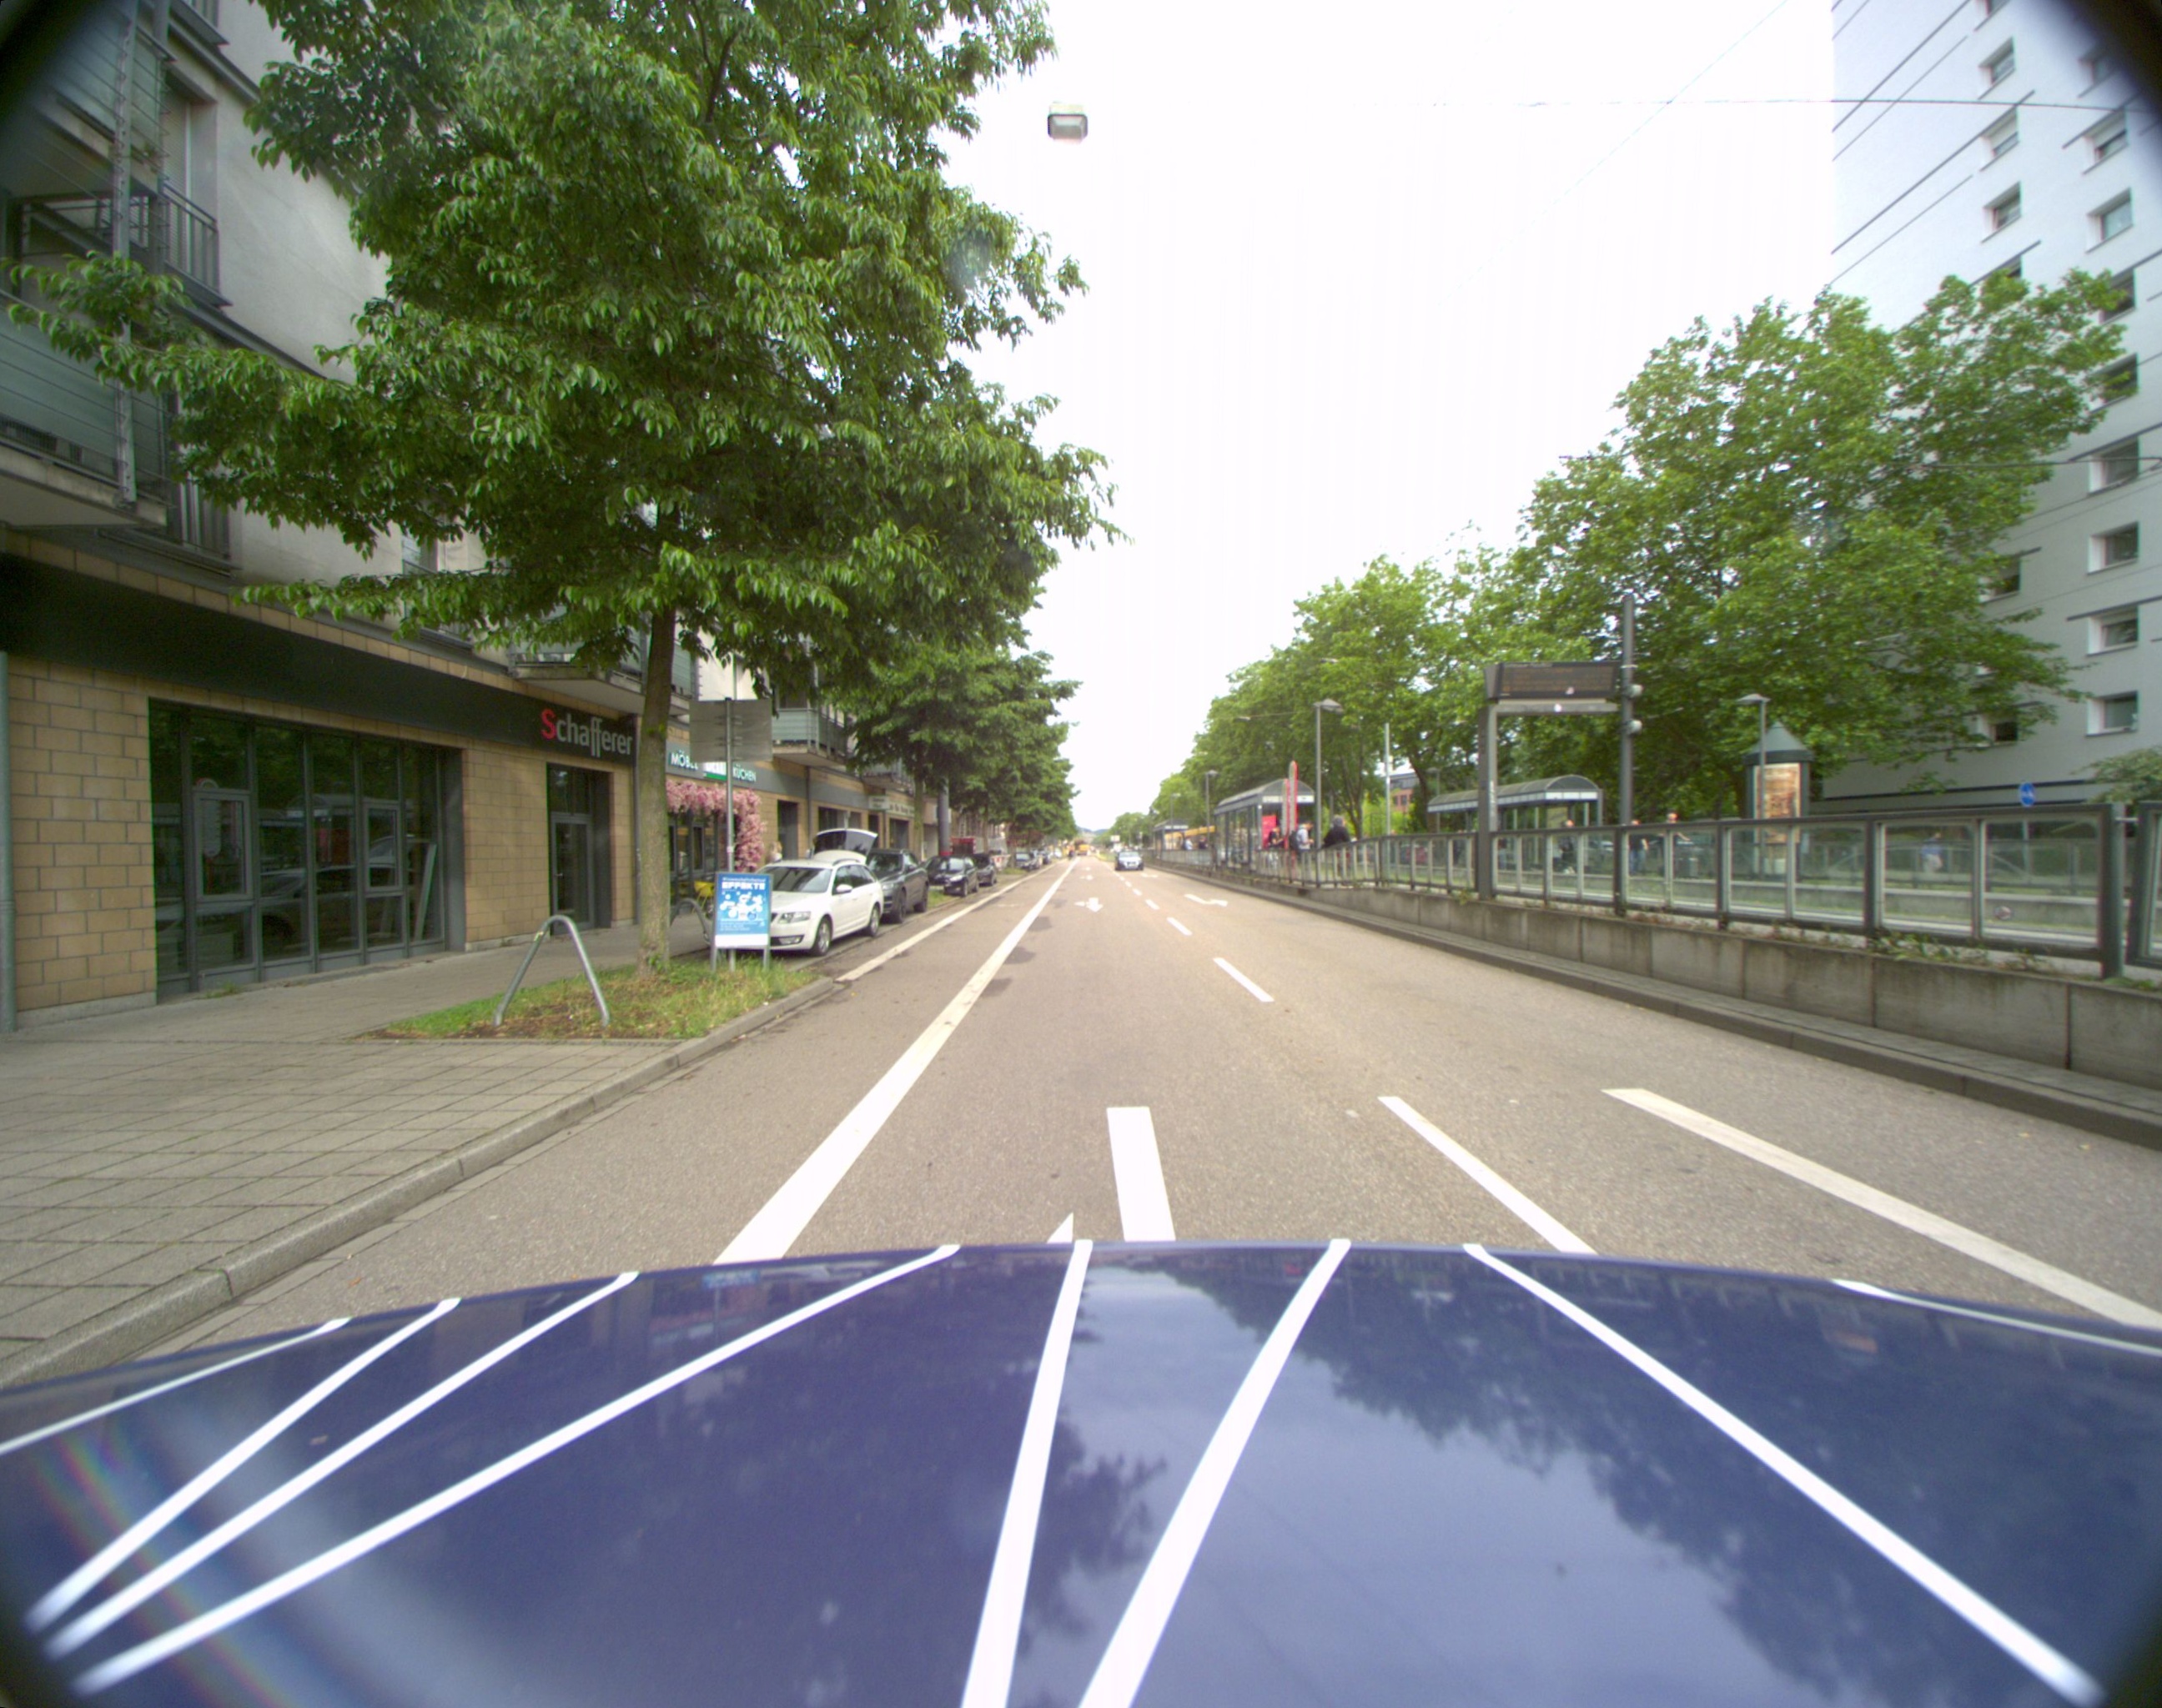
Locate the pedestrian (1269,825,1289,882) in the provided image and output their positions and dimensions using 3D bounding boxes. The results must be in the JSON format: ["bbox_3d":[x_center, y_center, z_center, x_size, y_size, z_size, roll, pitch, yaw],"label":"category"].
[{"bbox_3d":[6.310,-0.028,24.193,0.474,1.794,0.606,-2,1,26],"label":"pedestrian"}]

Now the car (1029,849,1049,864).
[{"bbox_3d":[-3.974,0.211,72.444,1.612,1.393,3.667,2,1,1],"label":"car"}]

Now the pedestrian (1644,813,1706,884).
[{"bbox_3d":[15.083,-0.138,19.327,0.882,1.746,0.850,-2,1,1],"label":"pedestrian"}]

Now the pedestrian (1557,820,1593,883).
[{"bbox_3d":[15.430,-0.079,23.741,0.699,1.919,0.554,-2,1,1],"label":"pedestrian"}]

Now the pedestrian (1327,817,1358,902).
[{"bbox_3d":[5.704,0.119,16.573,0.521,1.794,0.605,-2,1,13],"label":"pedestrian"}]

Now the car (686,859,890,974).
[{"bbox_3d":[-4.721,0.902,12.994,1.738,1.512,4.308,2,1,1],"label":"car"}]

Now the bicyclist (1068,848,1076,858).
[{"bbox_3d":[-1.301,-0.118,107.573,0.810,1.458,0.728,0,1,34],"label":"bicyclist"}]

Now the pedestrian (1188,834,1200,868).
[{"bbox_3d":[6.137,-0.178,41.334,0.530,1.794,0.606,-2,1,14],"label":"pedestrian"}]

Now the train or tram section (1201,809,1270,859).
[{"bbox_3d":[12.829,-1.609,64.490,3.338,3.731,12.547,-2,1,1],"label":"train or tram section"}]

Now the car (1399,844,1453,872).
[{"bbox_3d":[18.376,0.202,40.641,1.581,1.420,3.220,-1,1,4],"label":"car"}]

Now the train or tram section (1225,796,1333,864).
[{"bbox_3d":[12.636,-1.430,50.551,3.338,3.731,15.201,-2,1,1],"label":"train or tram section"}]

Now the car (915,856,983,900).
[{"bbox_3d":[-4.640,0.796,27.269,1.612,1.370,4.167,2,1,1],"label":"car"}]

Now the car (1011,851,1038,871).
[{"bbox_3d":[-4.168,0.481,56.228,1.612,1.393,3.667,2,1,1],"label":"car"}]

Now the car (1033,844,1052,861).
[{"bbox_3d":[-3.968,-0.139,78.214,1.612,1.674,3.806,2,1,1],"label":"car"}]

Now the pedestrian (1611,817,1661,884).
[{"bbox_3d":[15.703,-0.102,21.504,0.882,1.823,0.666,-2,1,1],"label":"pedestrian"}]

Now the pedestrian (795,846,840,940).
[{"bbox_3d":[-5.413,0.785,15.646,0.656,1.873,0.599,-1,1,1],"label":"pedestrian"}]

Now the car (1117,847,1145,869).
[{"bbox_3d":[3.426,0.252,52.759,1.716,1.379,4.099,-2,1,1],"label":"car"}]

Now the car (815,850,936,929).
[{"bbox_3d":[-4.717,0.743,17.997,1.738,1.601,3.798,2,1,1],"label":"car"}]

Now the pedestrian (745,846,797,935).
[{"bbox_3d":[-6.072,0.692,14.894,0.616,1.707,0.739,1,1,14],"label":"pedestrian"}]

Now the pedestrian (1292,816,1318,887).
[{"bbox_3d":[5.746,-0.064,19.476,0.475,1.794,0.605,-2,1,5],"label":"pedestrian"}]

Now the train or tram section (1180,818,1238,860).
[{"bbox_3d":[13.006,-1.489,78.969,3.338,3.731,16.247,-2,1,1],"label":"train or tram section"}]

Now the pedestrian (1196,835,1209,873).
[{"bbox_3d":[5.844,-0.001,36.517,0.530,1.794,0.606,-2,1,14],"label":"pedestrian"}]

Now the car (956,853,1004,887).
[{"bbox_3d":[-4.559,0.686,34.730,1.612,1.393,3.667,2,1,1],"label":"car"}]

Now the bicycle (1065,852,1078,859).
[{"bbox_3d":[-1.371,0.242,107.613,1.777,0.925,0.492,-2,1,34],"label":"bicycle"}]

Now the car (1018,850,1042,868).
[{"bbox_3d":[-4.128,0.366,62.158,1.612,1.393,3.667,2,1,1],"label":"car"}]
